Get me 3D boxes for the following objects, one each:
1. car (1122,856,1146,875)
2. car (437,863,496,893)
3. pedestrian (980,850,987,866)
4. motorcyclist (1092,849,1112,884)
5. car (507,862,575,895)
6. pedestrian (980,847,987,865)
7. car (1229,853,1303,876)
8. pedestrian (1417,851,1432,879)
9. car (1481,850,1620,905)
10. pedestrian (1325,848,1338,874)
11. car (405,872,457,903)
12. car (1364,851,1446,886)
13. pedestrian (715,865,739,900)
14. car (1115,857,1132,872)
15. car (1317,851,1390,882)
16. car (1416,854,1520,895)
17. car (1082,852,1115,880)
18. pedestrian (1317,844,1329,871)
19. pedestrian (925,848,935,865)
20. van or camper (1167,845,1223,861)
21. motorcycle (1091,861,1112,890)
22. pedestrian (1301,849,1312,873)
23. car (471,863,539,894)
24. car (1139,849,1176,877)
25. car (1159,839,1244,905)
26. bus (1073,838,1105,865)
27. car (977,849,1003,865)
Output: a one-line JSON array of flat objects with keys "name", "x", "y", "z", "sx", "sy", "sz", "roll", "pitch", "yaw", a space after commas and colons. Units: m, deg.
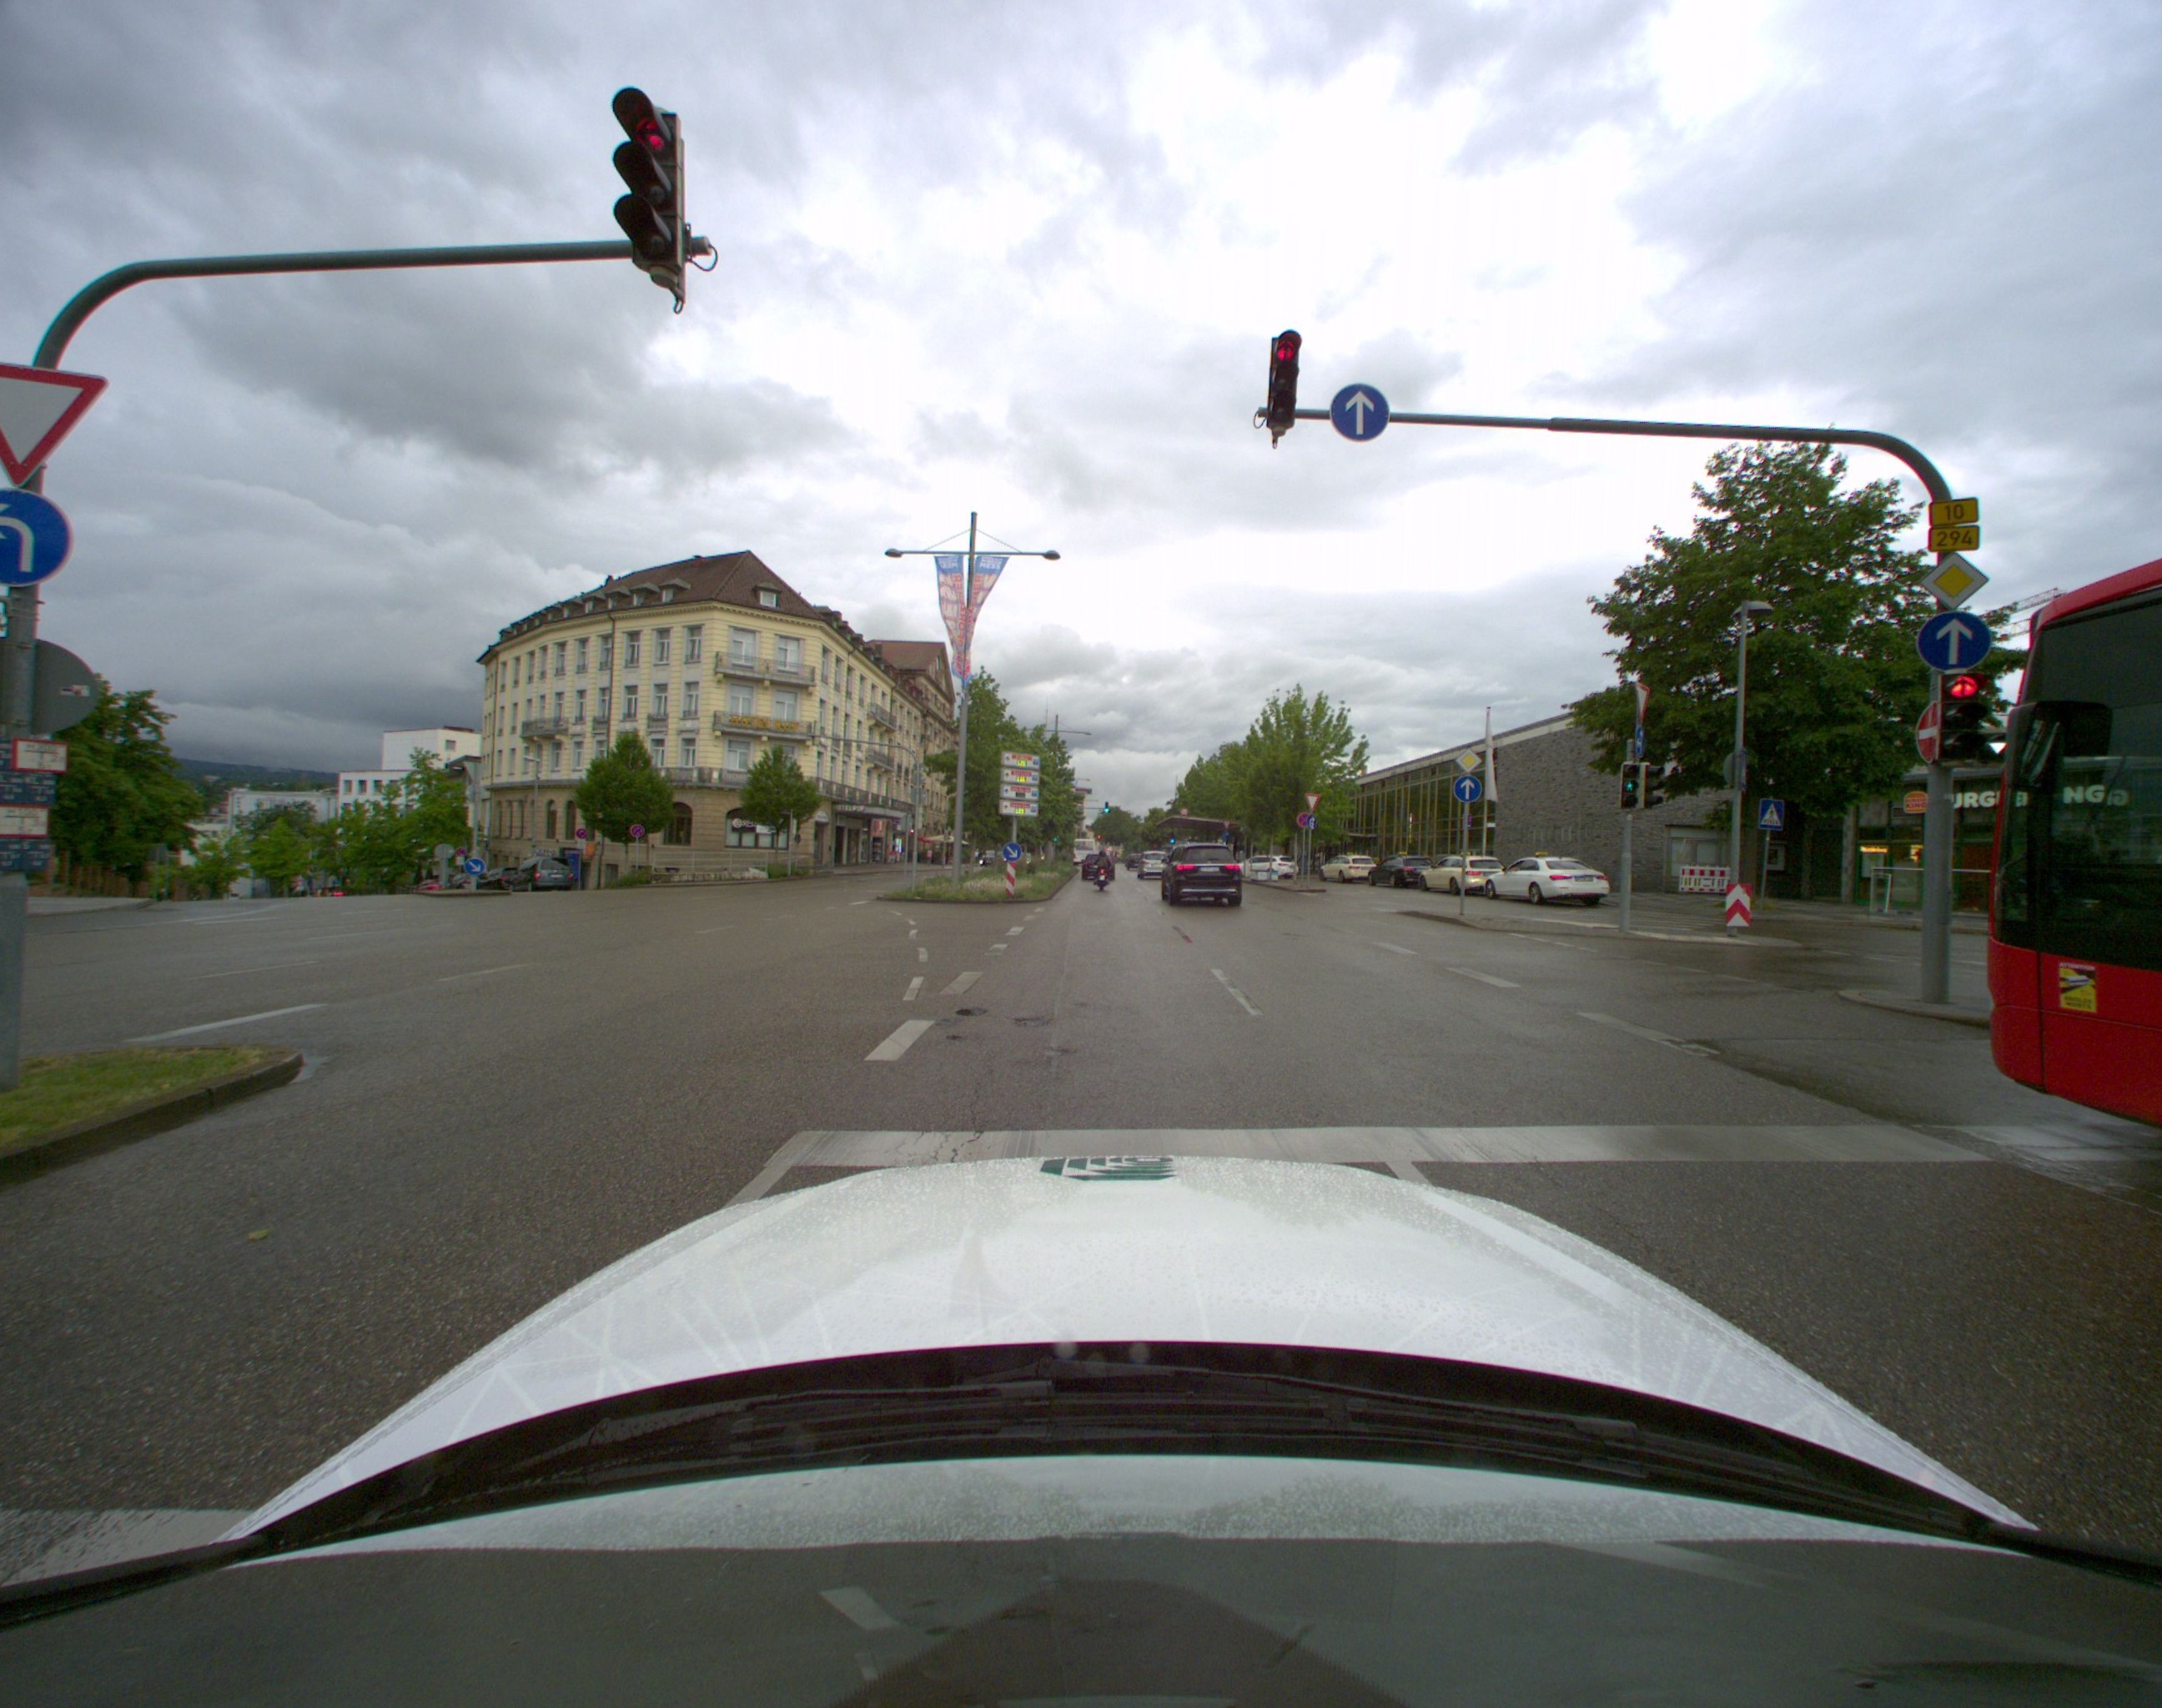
[{"name": "car", "x": 4.613, "y": 1.004, "z": 71.711, "sx": 1.805, "sy": 1.581, "sz": 3.902, "roll": 0, "pitch": 0, "yaw": -1}, {"name": "car", "x": -36.314, "y": 1.394, "z": 48.115, "sx": 3.864, "sy": 1.640, "sz": 1.805, "roll": 0, "pitch": 0, "yaw": 37}, {"name": "pedestrian", "x": -10.834, "y": 0.447, "z": 90.349, "sx": 0.672, "sy": 1.701, "sz": 0.634, "roll": -1, "pitch": 0, "yaw": 1}, {"name": "motorcyclist", "x": 0.805, "y": 0.491, "z": 31.689, "sx": 0.761, "sy": 1.331, "sz": 0.867, "roll": 0, "pitch": 0, "yaw": 2}, {"name": "car", "x": -27.102, "y": 1.188, "z": 40.853, "sx": 3.949, "sy": 1.568, "sz": 1.812, "roll": 0, "pitch": 0, "yaw": 41}, {"name": "pedestrian", "x": -10.859, "y": 0.205, "z": 90.410, "sx": 0.756, "sy": 2.013, "sz": 0.832, "roll": 0, "pitch": 0, "yaw": -5}, {"name": "car", "x": 11.533, "y": 0.610, "z": 50.997, "sx": 1.788, "sy": 1.385, "sz": 4.318, "roll": 0, "pitch": 0, "yaw": -39}, {"name": "pedestrian", "x": 20.456, "y": 0.662, "z": 48.472, "sx": 0.563, "sy": 1.646, "sz": 0.715, "roll": 0, "pitch": 0, "yaw": -3}, {"name": "car", "x": 14.647, "y": 0.669, "z": 25.742, "sx": 1.768, "sy": 1.589, "sz": 4.615, "roll": 0, "pitch": 0, "yaw": 0}, {"name": "pedestrian", "x": 19.978, "y": 0.555, "z": 64.876, "sx": 0.767, "sy": 2.013, "sz": 0.828, "roll": 0, "pitch": 0, "yaw": 0}, {"name": "car", "x": -41.190, "y": 2.103, "z": 51.576, "sx": 3.575, "sy": 1.812, "sz": 1.788, "roll": 0, "pitch": 0, "yaw": 38}, {"name": "car", "x": 14.883, "y": 0.634, "z": 37.688, "sx": 1.907, "sy": 1.524, "sz": 4.741, "roll": 0, "pitch": 0, "yaw": 0}, {"name": "pedestrian", "x": -19.425, "y": 1.556, "z": 44.732, "sx": 0.860, "sy": 1.878, "sz": 1.023, "roll": 0, "pitch": 0, "yaw": 1}, {"name": "car", "x": 4.906, "y": 1.170, "z": 94.249, "sx": 1.805, "sy": 1.642, "sz": 3.902, "roll": 0, "pitch": 0, "yaw": -1}, {"name": "car", "x": 14.680, "y": 0.622, "z": 44.182, "sx": 1.990, "sy": 1.600, "sz": 4.814, "roll": 0, "pitch": 0, "yaw": -5}, {"name": "car", "x": 14.785, "y": 0.723, "z": 31.399, "sx": 1.840, "sy": 1.452, "sz": 4.666, "roll": 0, "pitch": 0, "yaw": 0}, {"name": "car", "x": 0.942, "y": 0.622, "z": 43.866, "sx": 1.702, "sy": 1.448, "sz": 4.002, "roll": 0, "pitch": 0, "yaw": 2}, {"name": "pedestrian", "x": 21.764, "y": 0.271, "z": 73.323, "sx": 0.839, "sy": 2.411, "sz": 0.863, "roll": 0, "pitch": 0, "yaw": 3}, {"name": "pedestrian", "x": -13.602, "y": 0.217, "z": 73.293, "sx": 0.666, "sy": 1.510, "sz": 0.513, "roll": 0, "pitch": 0, "yaw": -36}, {"name": "van or camper", "x": 14.424, "y": -0.132, "z": 102.875, "sx": 6.787, "sy": 2.014, "sz": 2.366, "roll": 0, "pitch": -1, "yaw": -25}, {"name": "motorcycle", "x": 0.817, "y": 0.823, "z": 31.610, "sx": 0.763, "sy": 1.077, "sz": 2.176, "roll": 0, "pitch": 0, "yaw": 2}, {"name": "pedestrian", "x": 19.063, "y": 0.594, "z": 68.870, "sx": 0.767, "sy": 2.013, "sz": 0.828, "roll": 0, "pitch": 0, "yaw": 0}, {"name": "car", "x": -31.971, "y": 1.323, "z": 45.193, "sx": 3.948, "sy": 1.640, "sz": 2.013, "roll": -1, "pitch": -1, "yaw": 37}, {"name": "car", "x": 4.348, "y": 0.500, "z": 46.745, "sx": 1.844, "sy": 1.567, "sz": 4.002, "roll": 0, "pitch": 0, "yaw": 2}, {"name": "car", "x": 3.477, "y": 0.477, "z": 24.389, "sx": 1.986, "sy": 1.806, "sz": 4.691, "roll": 0, "pitch": 0, "yaw": 2}, {"name": "bus", "x": 0.945, "y": -0.291, "z": 104.362, "sx": 3.749, "sy": 3.209, "sz": 15.521, "roll": 0, "pitch": 0, "yaw": 0}, {"name": "car", "x": -8.649, "y": 0.283, "z": 77.994, "sx": 1.763, "sy": 1.530, "sz": 4.083, "roll": 0, "pitch": 0, "yaw": 4}]
